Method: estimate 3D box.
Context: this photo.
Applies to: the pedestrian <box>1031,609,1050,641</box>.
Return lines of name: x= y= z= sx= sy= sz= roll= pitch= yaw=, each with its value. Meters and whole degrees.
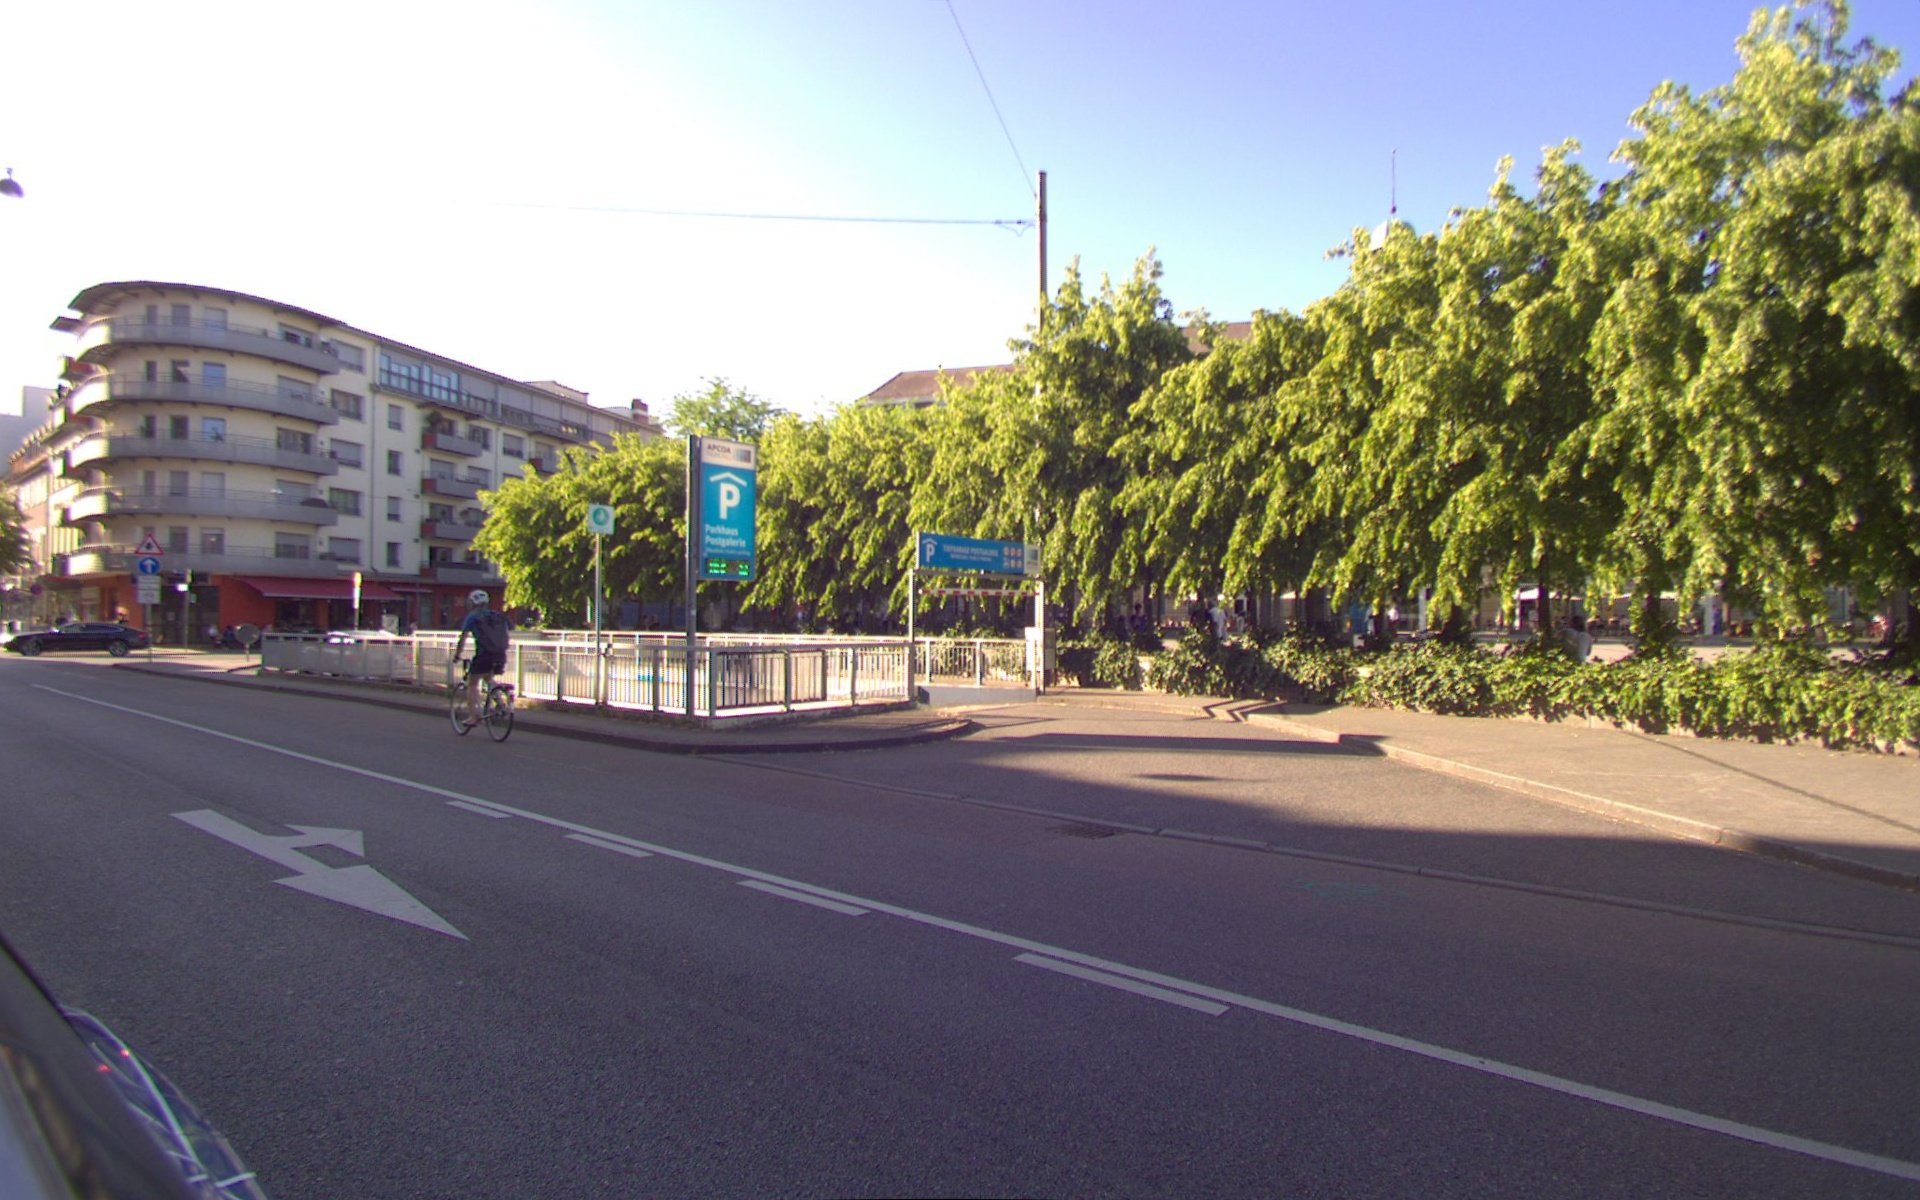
pedestrian: x=3.572 y=1.118 z=44.864 sx=0.752 sy=1.385 sz=0.684 roll=-1 pitch=0 yaw=1

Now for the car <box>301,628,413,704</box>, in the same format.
car: x=-15.854 y=1.654 z=26.535 sx=3.910 sy=1.542 sz=1.615 roll=3 pitch=3 yaw=45

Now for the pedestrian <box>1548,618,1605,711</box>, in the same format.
pedestrian: x=9.801 y=1.011 z=16.100 sx=0.611 sy=1.447 sz=0.588 roll=-1 pitch=0 yaw=14

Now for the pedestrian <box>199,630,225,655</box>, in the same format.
pedestrian: x=-37.644 y=2.135 z=50.954 sx=0.882 sy=1.207 sz=0.772 roll=-1 pitch=0 yaw=30

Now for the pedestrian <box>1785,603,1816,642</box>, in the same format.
pedestrian: x=33.517 y=0.892 z=40.350 sx=0.735 sy=1.542 sz=0.689 roll=-1 pitch=0 yaw=20

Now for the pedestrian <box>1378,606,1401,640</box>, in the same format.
pedestrian: x=20.020 y=1.060 z=47.194 sx=0.672 sy=1.542 sz=0.696 roll=-1 pitch=0 yaw=-18

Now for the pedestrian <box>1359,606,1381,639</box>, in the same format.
pedestrian: x=19.361 y=1.069 z=47.827 sx=0.673 sy=1.535 sz=0.695 roll=-1 pitch=0 yaw=-7

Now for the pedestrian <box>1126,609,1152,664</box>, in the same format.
pedestrian: x=4.600 y=0.929 z=25.947 sx=0.545 sy=1.385 sz=0.680 roll=-1 pitch=0 yaw=19

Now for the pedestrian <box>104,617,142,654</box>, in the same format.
pedestrian: x=-40.770 y=1.728 z=49.311 sx=0.952 sy=1.762 sz=1.058 roll=-1 pitch=0 yaw=10

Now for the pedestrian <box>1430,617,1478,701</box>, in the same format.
pedestrian: x=8.744 y=1.025 z=17.909 sx=0.621 sy=1.447 sz=0.645 roll=-1 pitch=0 yaw=39

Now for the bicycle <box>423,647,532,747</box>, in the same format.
bicycle: x=-6.337 y=1.222 z=13.234 sx=1.958 sy=1.171 sz=0.609 roll=-1 pitch=-3 yaw=44

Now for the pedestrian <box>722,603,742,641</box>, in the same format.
pedestrian: x=-11.343 y=1.073 z=50.294 sx=0.679 sy=1.857 sz=0.743 roll=-1 pitch=0 yaw=19

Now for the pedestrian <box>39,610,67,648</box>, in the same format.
pedestrian: x=-48.072 y=1.531 z=53.626 sx=0.790 sy=1.934 sz=0.978 roll=-1 pitch=0 yaw=37

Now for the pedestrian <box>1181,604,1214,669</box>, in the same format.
pedestrian: x=5.598 y=0.853 z=23.835 sx=0.688 sy=1.511 sz=0.680 roll=-1 pitch=0 yaw=19

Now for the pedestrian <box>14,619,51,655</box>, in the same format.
pedestrian: x=-45.404 y=1.792 z=49.553 sx=1.076 sy=1.732 sz=1.059 roll=-1 pitch=0 yaw=29

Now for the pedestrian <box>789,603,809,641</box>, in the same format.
pedestrian: x=-7.922 y=1.095 z=49.813 sx=0.681 sy=1.857 sz=0.741 roll=-1 pitch=0 yaw=27

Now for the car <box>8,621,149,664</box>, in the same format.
car: x=-35.795 y=1.689 z=41.261 sx=4.180 sy=1.542 sz=1.681 roll=-1 pitch=0 yaw=-36

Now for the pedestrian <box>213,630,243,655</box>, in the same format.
pedestrian: x=-36.823 y=2.124 z=50.909 sx=0.827 sy=1.207 sz=0.931 roll=-1 pitch=0 yaw=16

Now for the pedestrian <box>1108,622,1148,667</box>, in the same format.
pedestrian: x=4.169 y=1.088 z=25.090 sx=0.682 sy=1.079 sz=0.686 roll=-1 pitch=0 yaw=-29

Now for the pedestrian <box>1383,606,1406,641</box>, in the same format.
pedestrian: x=19.824 y=1.063 z=46.160 sx=0.672 sy=1.536 sz=0.696 roll=-1 pitch=0 yaw=-19

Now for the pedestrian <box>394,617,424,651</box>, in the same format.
pedestrian: x=-28.275 y=1.722 z=51.944 sx=1.251 sy=1.678 sz=1.143 roll=-1 pitch=0 yaw=-34

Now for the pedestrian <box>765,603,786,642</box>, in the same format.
pedestrian: x=-8.918 y=1.099 z=49.034 sx=0.681 sy=1.877 sz=0.741 roll=-1 pitch=0 yaw=27

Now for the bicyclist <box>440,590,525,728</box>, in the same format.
bicyclist: x=-6.224 y=0.752 z=13.192 sx=0.809 sy=1.722 sz=0.694 roll=-1 pitch=-2 yaw=41

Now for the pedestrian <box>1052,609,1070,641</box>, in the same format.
pedestrian: x=4.467 y=1.106 z=44.828 sx=0.684 sy=1.385 sz=0.684 roll=-1 pitch=0 yaw=1

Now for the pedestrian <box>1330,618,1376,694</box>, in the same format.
pedestrian: x=7.518 y=1.060 z=19.356 sx=0.622 sy=1.409 sz=0.644 roll=-1 pitch=0 yaw=44

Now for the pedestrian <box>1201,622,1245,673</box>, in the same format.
pedestrian: x=5.768 y=1.041 z=22.242 sx=0.682 sy=1.079 sz=0.686 roll=-1 pitch=0 yaw=-13

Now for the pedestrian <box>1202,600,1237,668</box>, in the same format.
pedestrian: x=6.218 y=0.803 z=24.271 sx=0.517 sy=1.594 sz=0.686 roll=-1 pitch=0 yaw=-15

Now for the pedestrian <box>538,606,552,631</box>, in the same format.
pedestrian: x=-31.103 y=1.396 z=75.879 sx=0.684 sy=1.857 sz=0.737 roll=-1 pitch=0 yaw=41
